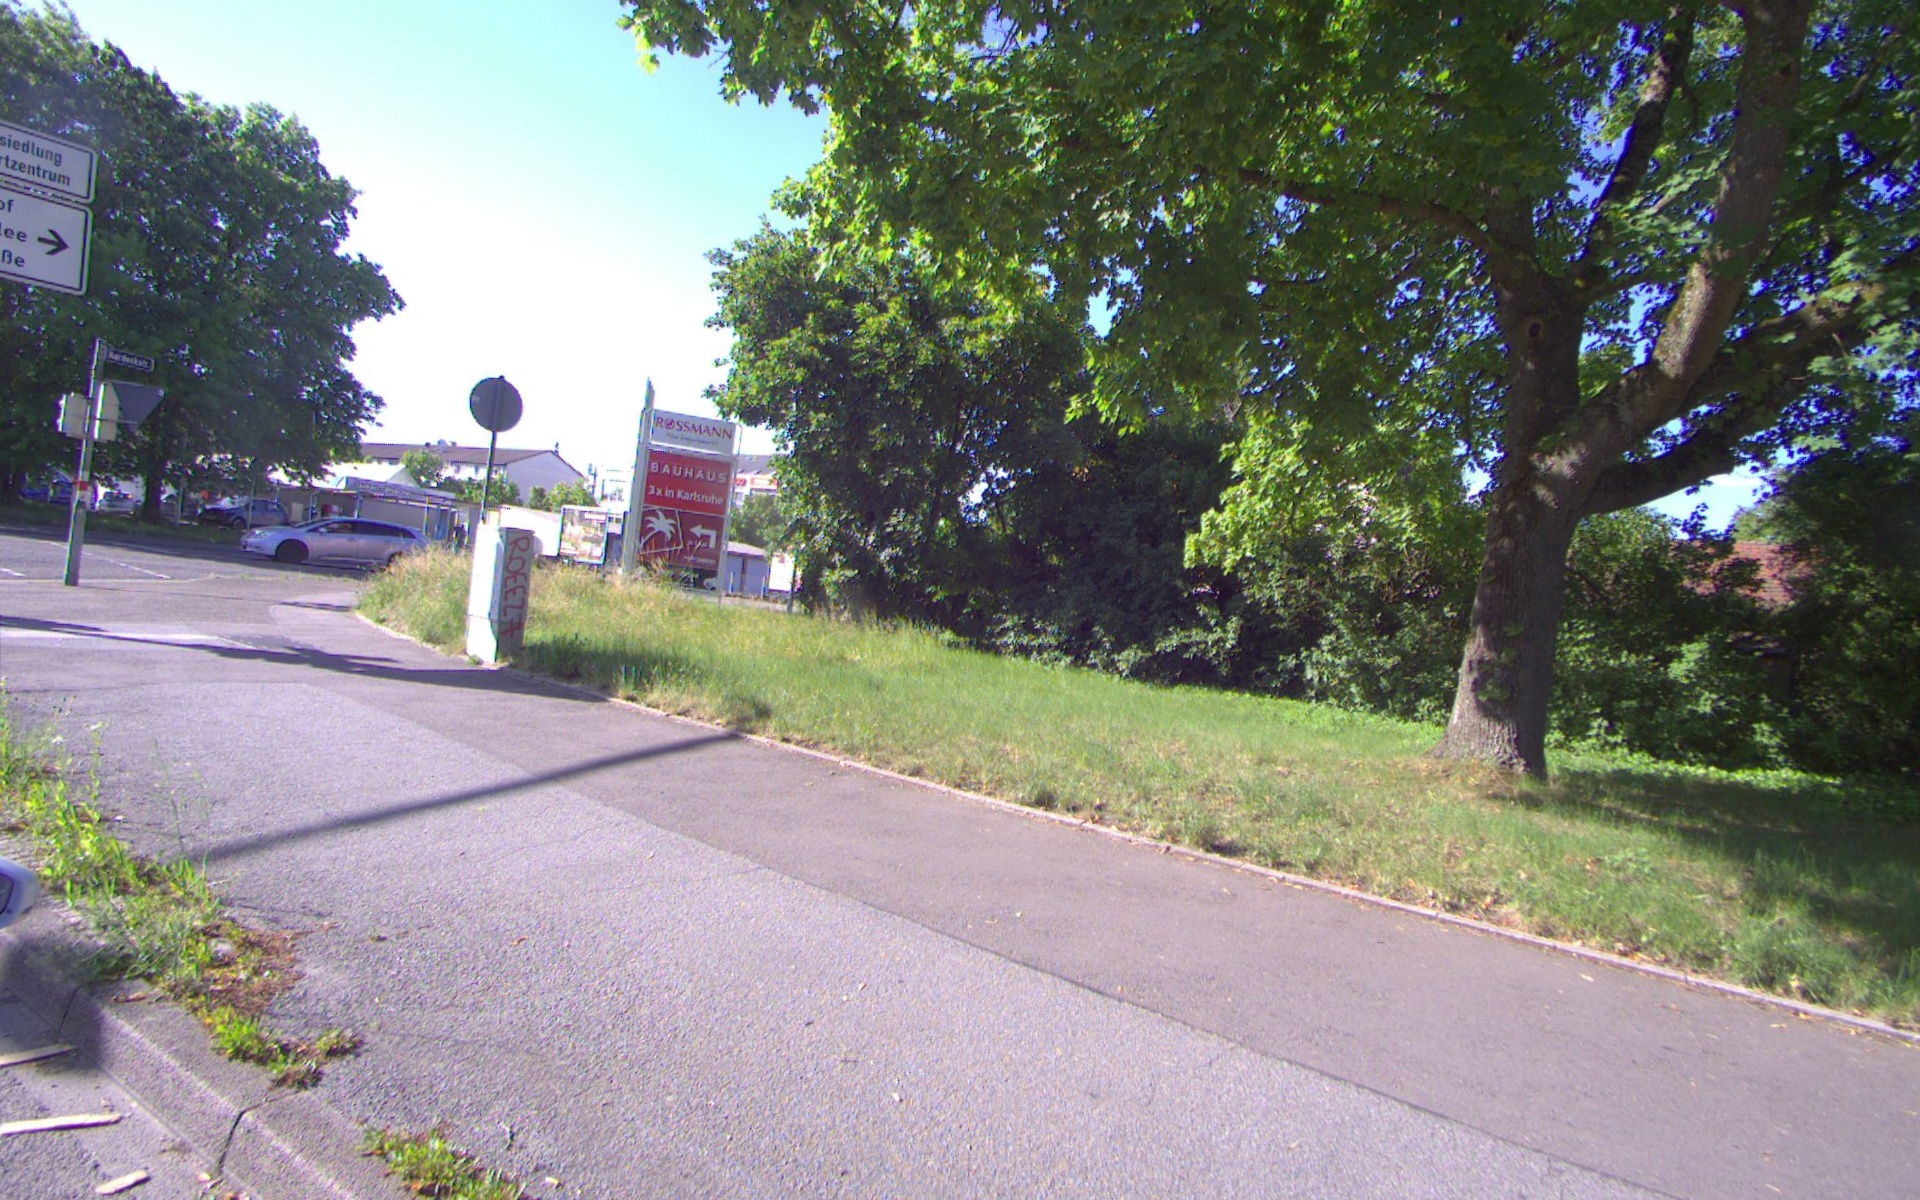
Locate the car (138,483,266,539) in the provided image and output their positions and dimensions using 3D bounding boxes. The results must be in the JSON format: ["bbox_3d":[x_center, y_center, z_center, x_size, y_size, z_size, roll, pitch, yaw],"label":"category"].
[{"bbox_3d":[-32.324,-3.754,43.052,1.962,1.771,4.002,7,0,9],"label":"car"}]

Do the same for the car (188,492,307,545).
[{"bbox_3d":[-30.291,-3.425,42.916,1.712,1.701,4.001,7,0,9],"label":"car"}]

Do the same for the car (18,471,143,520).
[{"bbox_3d":[-39.174,-4.625,44.932,1.712,1.537,3.902,7,0,9],"label":"car"}]

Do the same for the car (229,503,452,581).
[{"bbox_3d":[-17.552,-1.597,28.710,1.973,1.504,4.994,7,0,43],"label":"car"}]

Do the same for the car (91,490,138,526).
[{"bbox_3d":[-47.271,-5.146,56.247,1.734,1.701,3.951,6,1,-43],"label":"car"}]

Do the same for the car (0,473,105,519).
[{"bbox_3d":[-41.985,-4.766,46.156,1.712,1.537,3.902,7,0,9],"label":"car"}]
